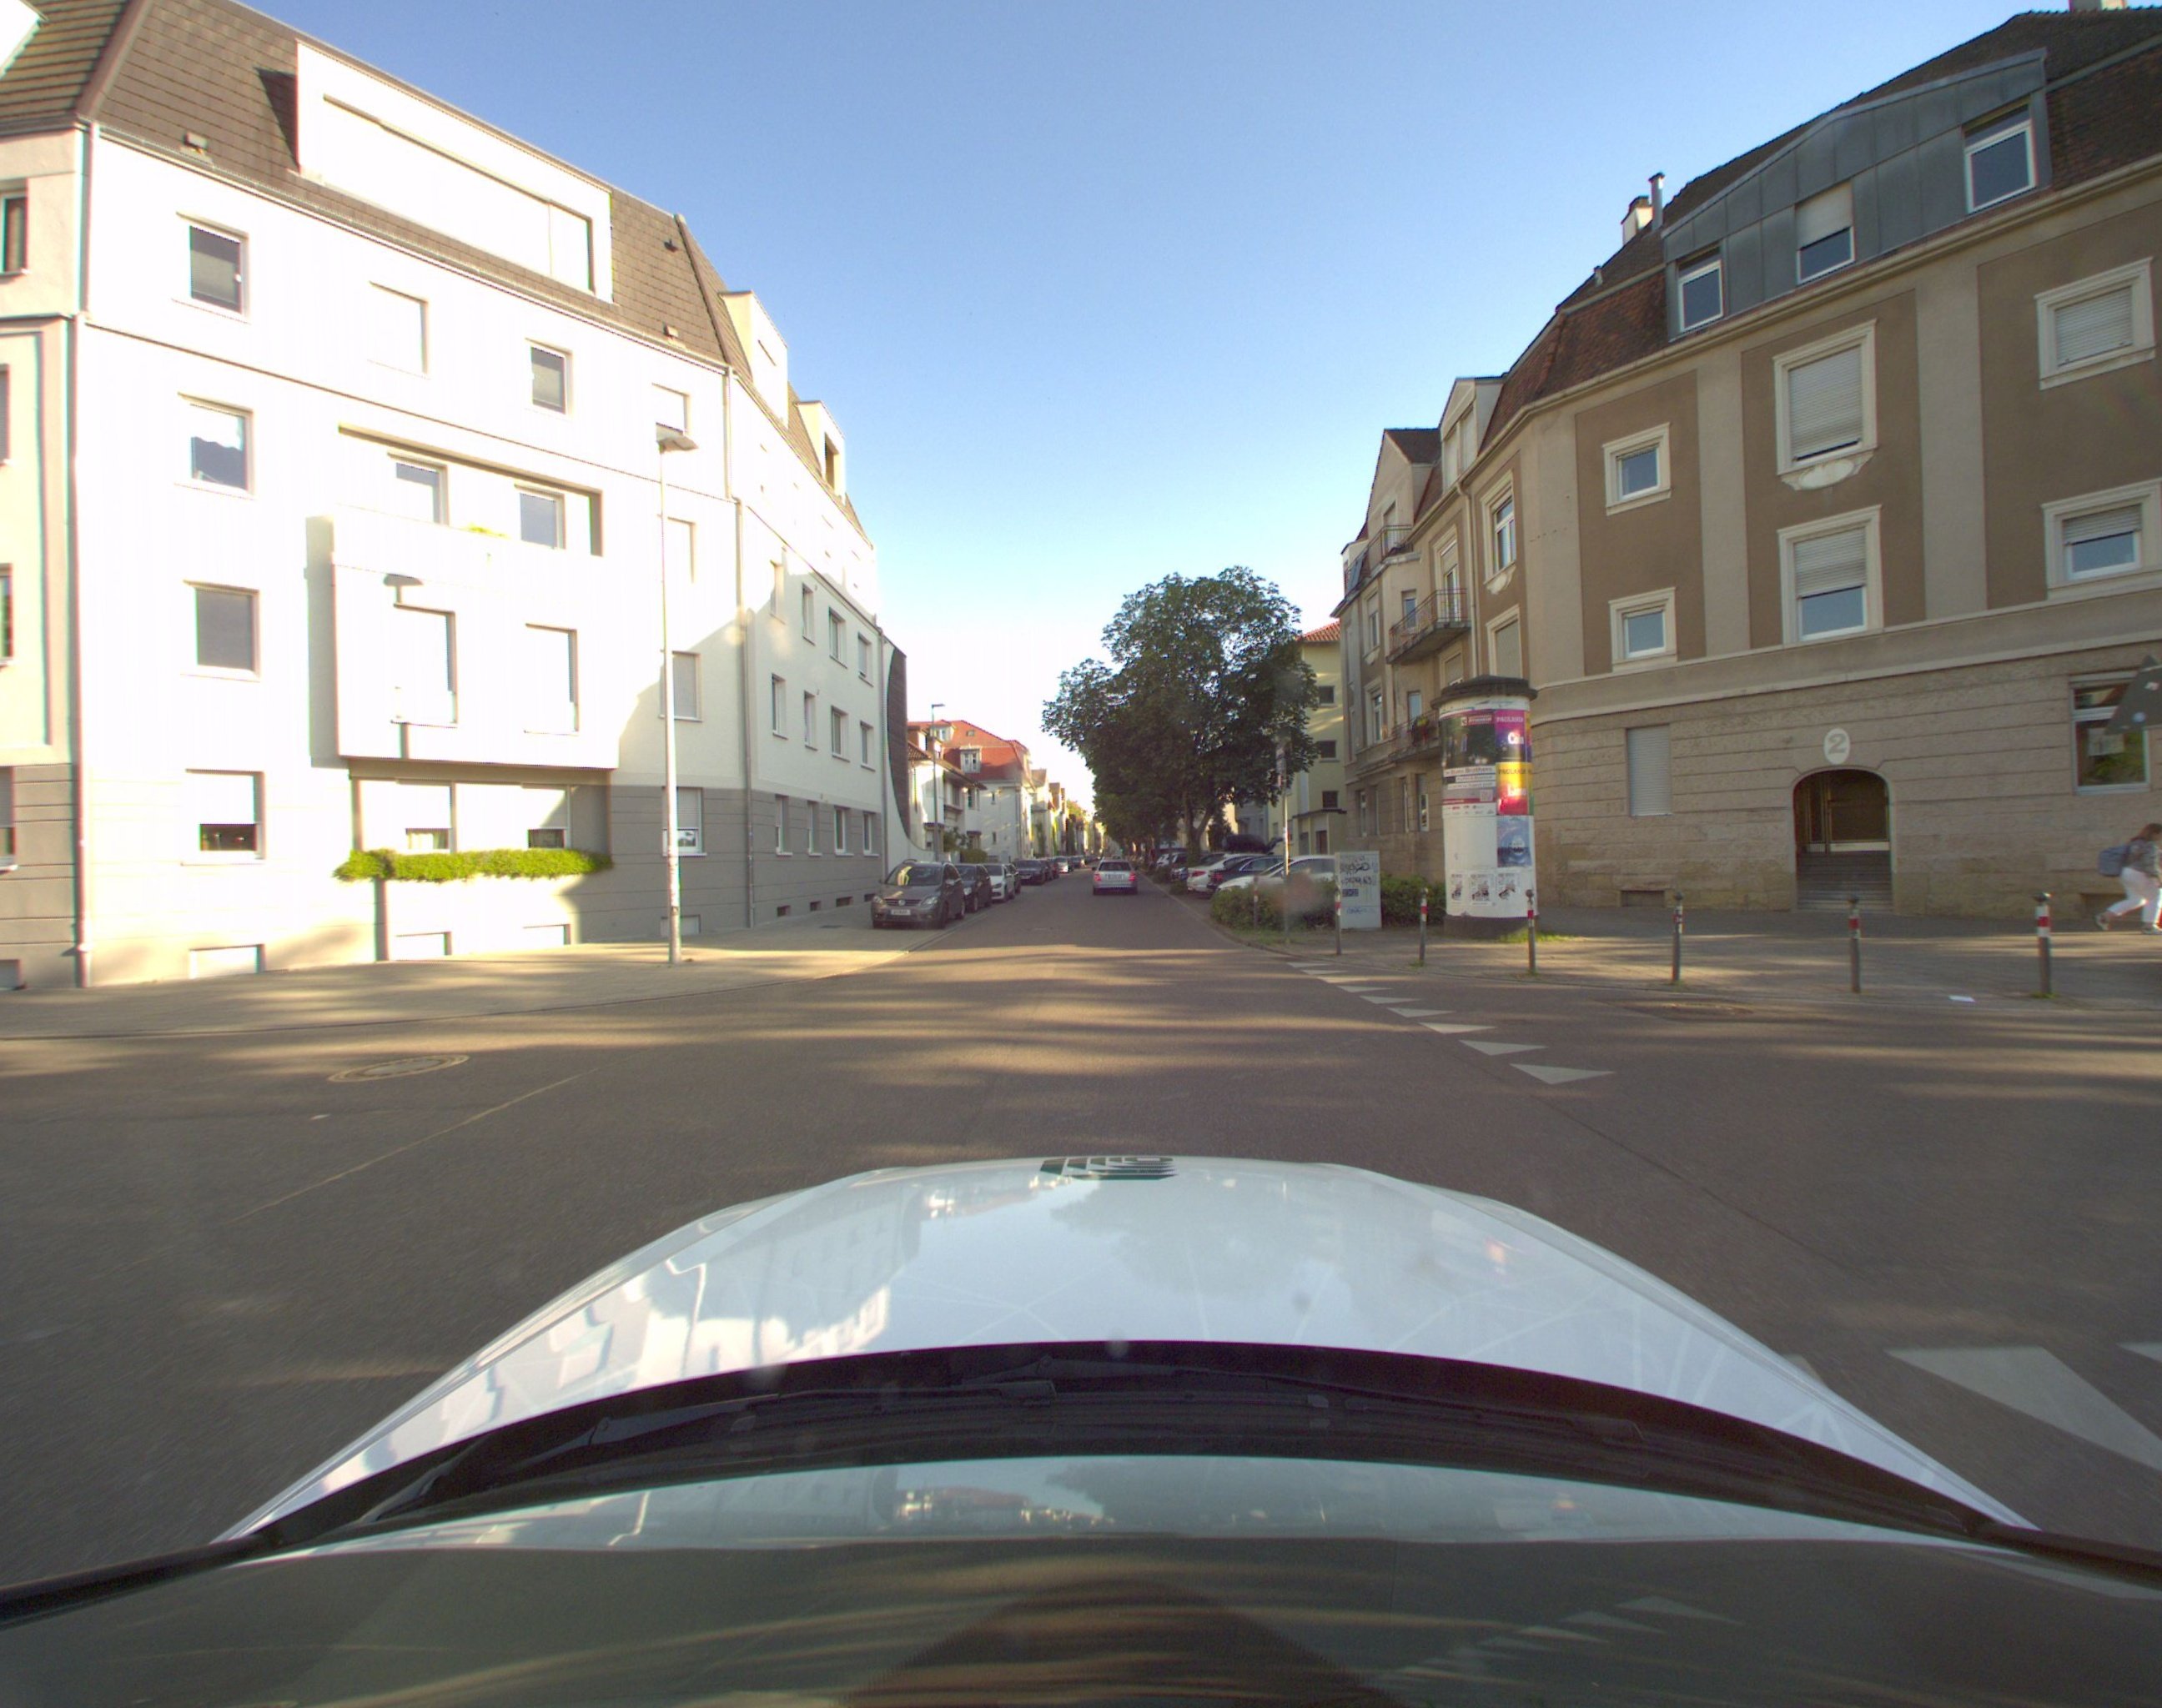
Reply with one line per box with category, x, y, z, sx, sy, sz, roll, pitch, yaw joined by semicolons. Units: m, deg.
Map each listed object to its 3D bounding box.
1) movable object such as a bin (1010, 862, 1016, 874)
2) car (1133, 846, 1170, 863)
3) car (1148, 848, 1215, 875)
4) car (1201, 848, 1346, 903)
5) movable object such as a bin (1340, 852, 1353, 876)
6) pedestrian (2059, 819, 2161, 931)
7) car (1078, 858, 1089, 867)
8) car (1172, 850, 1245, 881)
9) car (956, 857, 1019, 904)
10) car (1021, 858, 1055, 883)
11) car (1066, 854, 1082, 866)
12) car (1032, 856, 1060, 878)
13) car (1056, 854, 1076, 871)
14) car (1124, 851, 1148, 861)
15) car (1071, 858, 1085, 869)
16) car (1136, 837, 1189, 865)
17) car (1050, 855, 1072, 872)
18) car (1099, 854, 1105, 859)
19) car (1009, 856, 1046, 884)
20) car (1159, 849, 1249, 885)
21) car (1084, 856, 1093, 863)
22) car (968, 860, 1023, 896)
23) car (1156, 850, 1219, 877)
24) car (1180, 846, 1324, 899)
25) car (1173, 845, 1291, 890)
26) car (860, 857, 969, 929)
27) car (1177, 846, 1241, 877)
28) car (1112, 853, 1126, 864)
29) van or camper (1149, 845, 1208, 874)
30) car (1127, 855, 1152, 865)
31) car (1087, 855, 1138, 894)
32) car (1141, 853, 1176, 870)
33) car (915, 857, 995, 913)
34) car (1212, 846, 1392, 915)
movable object such as a bin;-6.095;1.261;72.972;0.525;1.107;0.590;-1;-2;2
car;9.025;0.096;104.148;4.504;2.013;2.251;-2;0;0
car;7.199;0.508;58.616;4.608;1.836;1.955;-1;0;1
car;5.955;0.665;25.517;4.128;1.448;1.673;-3;0;1
movable object such as a bin;12.208;0.474;37.454;0.454;1.086;0.532;-1;-2;2
pedestrian;14.872;0.286;11.663;0.812;1.545;0.746;-2;1;19
car;0.496;1.453;141.124;1.792;1.387;3.608;-1;0;2
car;7.199;0.624;46.318;3.908;1.558;1.727;-2;0;3
car;-3.445;0.947;30.648;1.878;1.591;4.089;-2;0;0
car;-2.777;1.052;53.431;1.776;1.498;4.702;-1;-1;3
car;-0.853;0.723;101.084;1.792;1.482;3.859;-1;0;2
car;-2.497;0.947;59.087;1.652;1.488;3.756;-1;-1;3
car;-1.533;0.828;83.108;1.792;1.644;3.859;-1;0;2
car;9.014;0.305;134.069;3.828;1.482;1.806;-2;0;3
car;-0.391;1.424;117.536;1.792;1.482;3.859;-1;0;2
car;9.083;-0.319;91.077;5.525;2.968;2.471;-2;0;-1
car;-1.767;0.856;73.650;1.652;1.499;3.756;-1;-1;3
car;6.263;0.859;247.208;1.792;1.387;3.608;-1;0;2
car;-3.076;0.930;47.274;1.848;1.498;4.653;-1;-1;-1
car;6.023;0.642;40.200;4.176;1.558;1.874;-2;0;1
car;1.620;1.170;182.186;1.792;1.387;3.608;-1;0;2
car;-3.638;1.012;35.403;1.751;1.447;4.145;-1;-1;3
car;6.709;0.587;51.558;3.717;1.558;1.725;-2;0;1
car;5.862;0.598;28.265;4.468;1.525;1.951;-3;1;-4
car;6.214;0.551;33.902;4.510;1.641;1.874;-2;0;1
car;-4.091;0.897;20.675;1.878;1.591;4.089;-2;0;0
car;7.627;0.434;48.874;3.535;1.654;1.725;-2;0;1
car;5.346;0.649;114.244;1.808;1.473;4.222;-2;-1;5
van or camper;7.303;0.400;61.428;4.292;2.013;2.003;-1;0;5
car;9.103;0.977;127.876;3.828;1.482;1.806;-2;0;3
car;1.356;0.816;33.440;1.808;1.473;4.222;-2;-1;5
car;8.352;0.799;88.280;3.583;1.659;1.650;-2;0;0
car;-3.908;0.925;25.990;1.878;1.591;4.089;-2;0;0
car;5.520;0.650;20.721;4.034;1.505;1.862;-2;0;1
